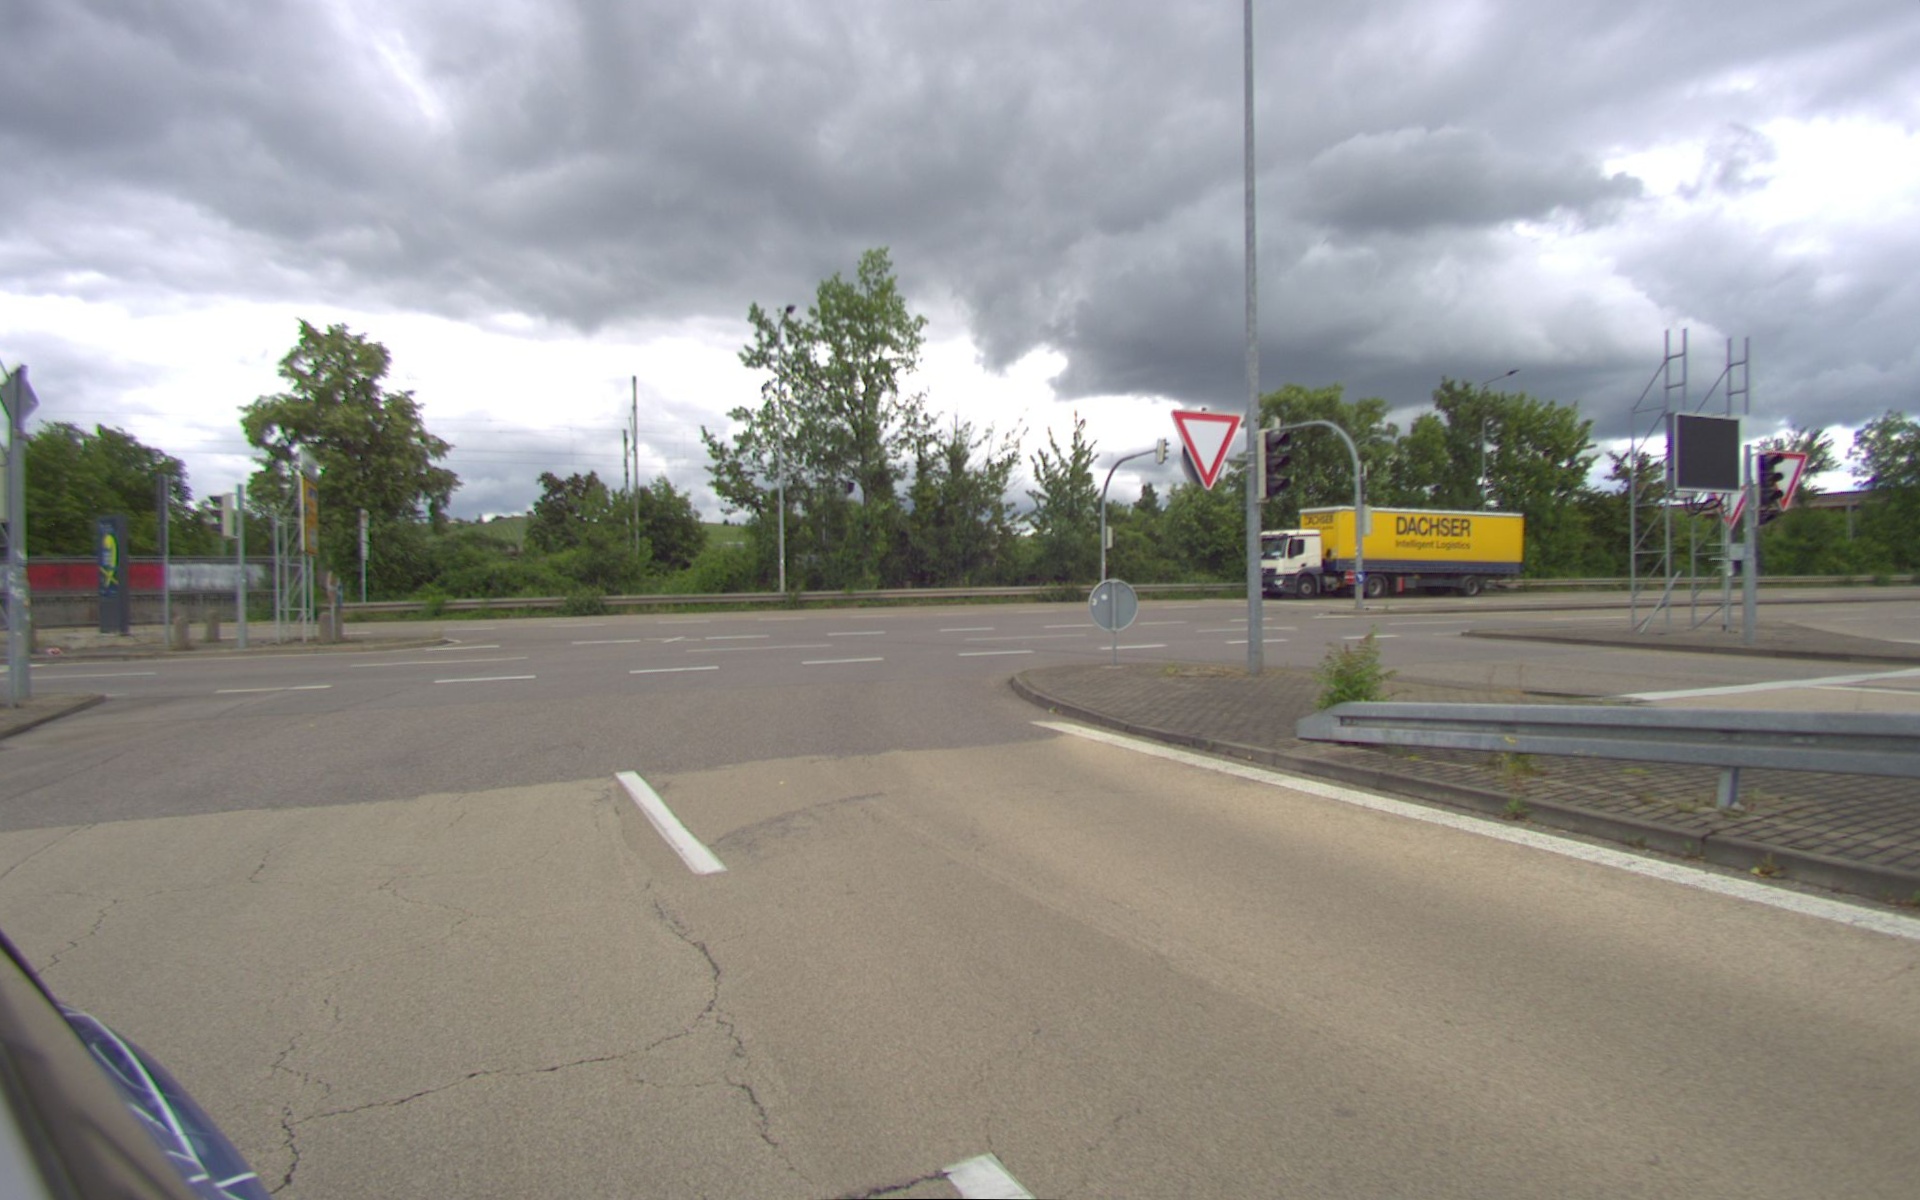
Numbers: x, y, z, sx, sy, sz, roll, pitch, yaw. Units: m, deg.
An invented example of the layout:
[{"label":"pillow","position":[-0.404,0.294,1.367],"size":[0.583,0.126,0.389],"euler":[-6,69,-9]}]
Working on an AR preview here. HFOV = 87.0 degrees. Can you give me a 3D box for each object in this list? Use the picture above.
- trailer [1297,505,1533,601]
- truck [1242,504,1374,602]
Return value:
[{"label":"trailer","position":[21.606,-2.192,47.859],"size":[11.455,4.236,2.644],"euler":[-1,1,-19]},{"label":"truck","position":[15.727,-2.095,45.799],"size":[5.014,4.236,2.644],"euler":[-1,1,-19]}]
